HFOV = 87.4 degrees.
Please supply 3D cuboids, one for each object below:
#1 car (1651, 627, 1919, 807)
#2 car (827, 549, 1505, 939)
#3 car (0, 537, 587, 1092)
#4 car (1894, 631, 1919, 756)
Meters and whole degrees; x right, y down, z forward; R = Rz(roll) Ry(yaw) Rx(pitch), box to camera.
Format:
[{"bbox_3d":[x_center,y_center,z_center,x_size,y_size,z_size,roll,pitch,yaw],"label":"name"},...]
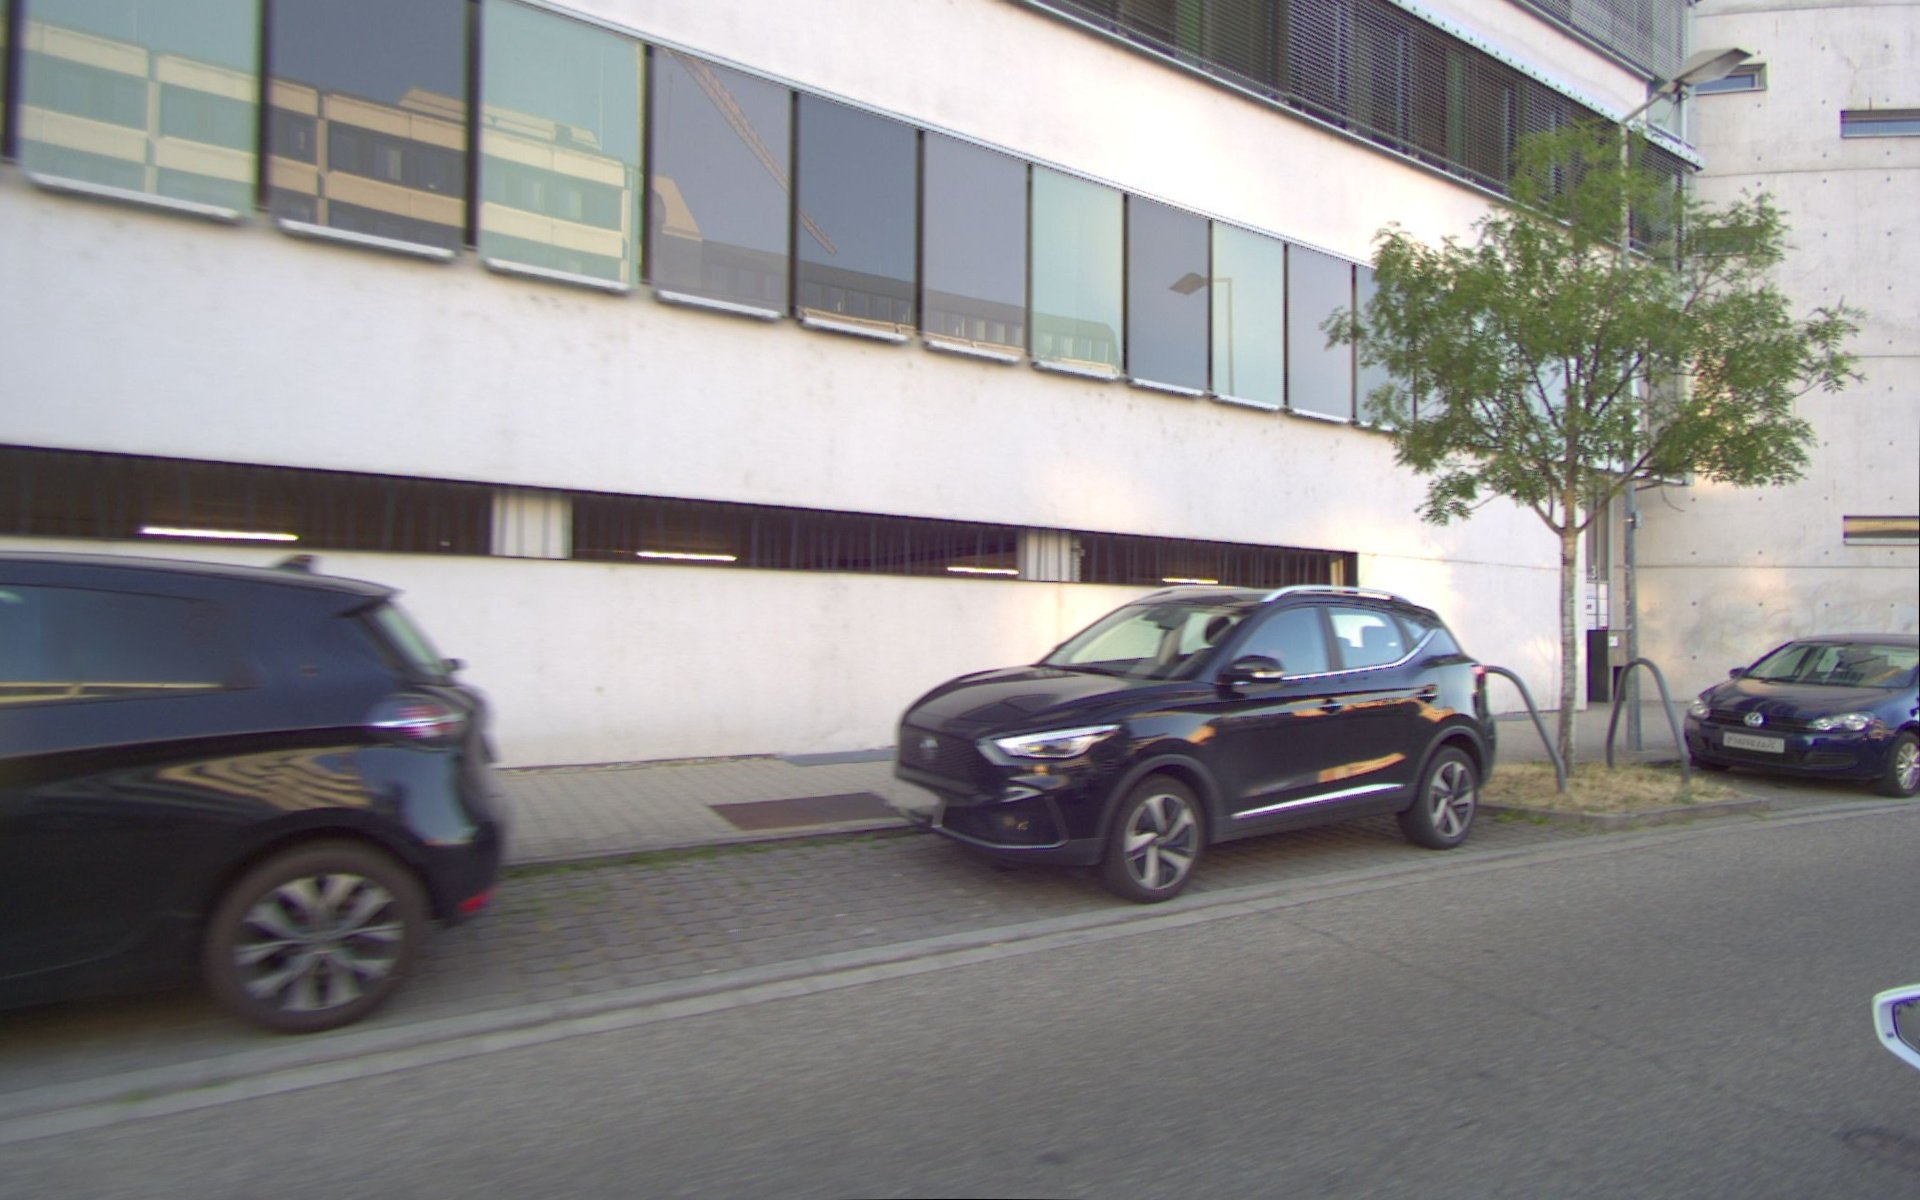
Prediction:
[{"bbox_3d":[9.250,1.047,10.257,4.213,1.477,1.717,1,1,-25],"label":"car"},{"bbox_3d":[1.347,0.631,6.095,3.904,1.675,1.746,1,1,-32],"label":"car"},{"bbox_3d":[-3.520,0.596,3.396,3.996,1.582,1.747,1,1,-31],"label":"car"},{"bbox_3d":[13.795,1.160,12.205,4.623,1.477,1.719,1,1,-21],"label":"car"}]
